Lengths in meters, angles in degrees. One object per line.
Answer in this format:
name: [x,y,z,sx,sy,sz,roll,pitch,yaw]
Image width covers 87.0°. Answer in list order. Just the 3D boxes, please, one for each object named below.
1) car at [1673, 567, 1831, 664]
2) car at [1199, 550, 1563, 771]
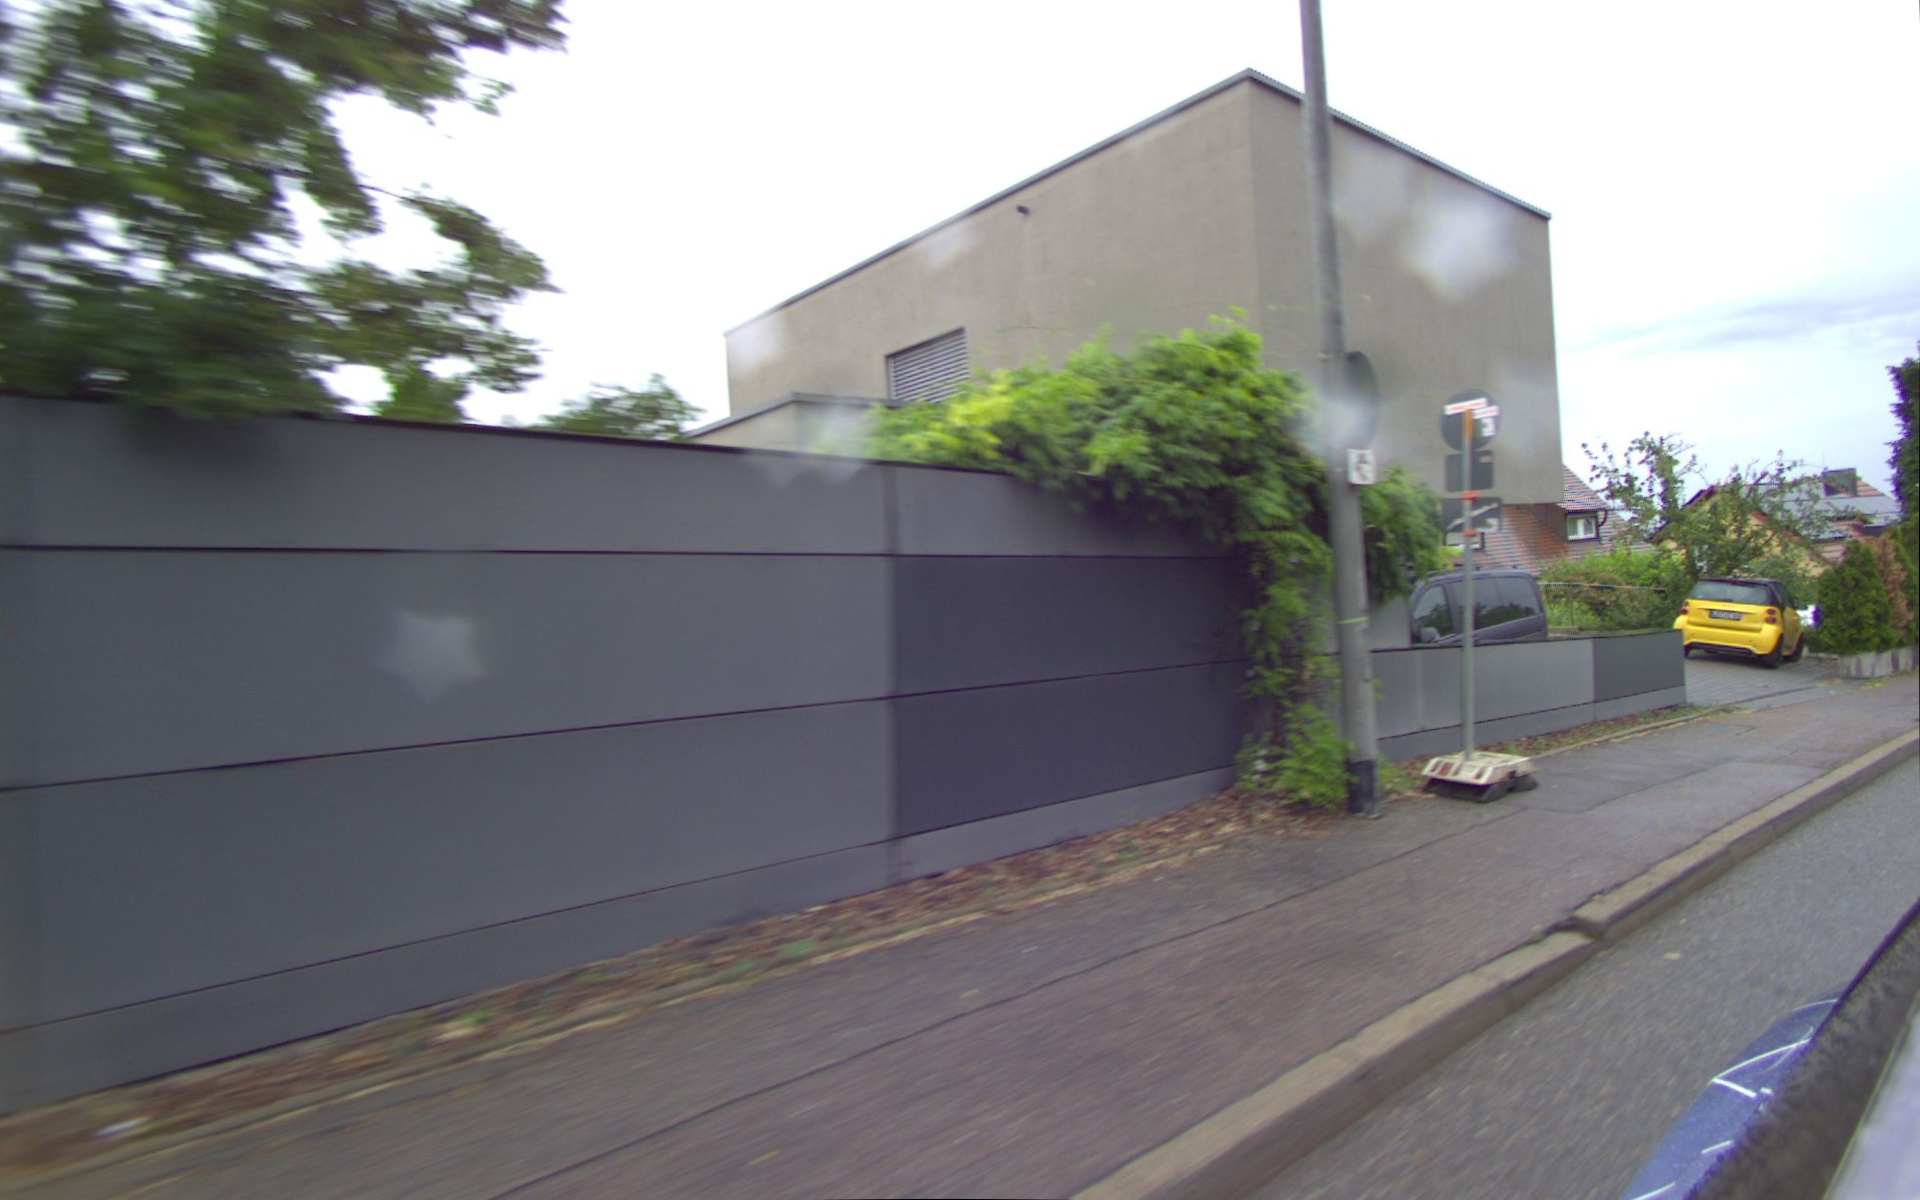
car: [14.872,0.209,18.951,3.368,1.511,1.632,-2,7,-41]
car: [5.096,0.501,11.920,4.691,1.964,1.997,-5,3,-40]
